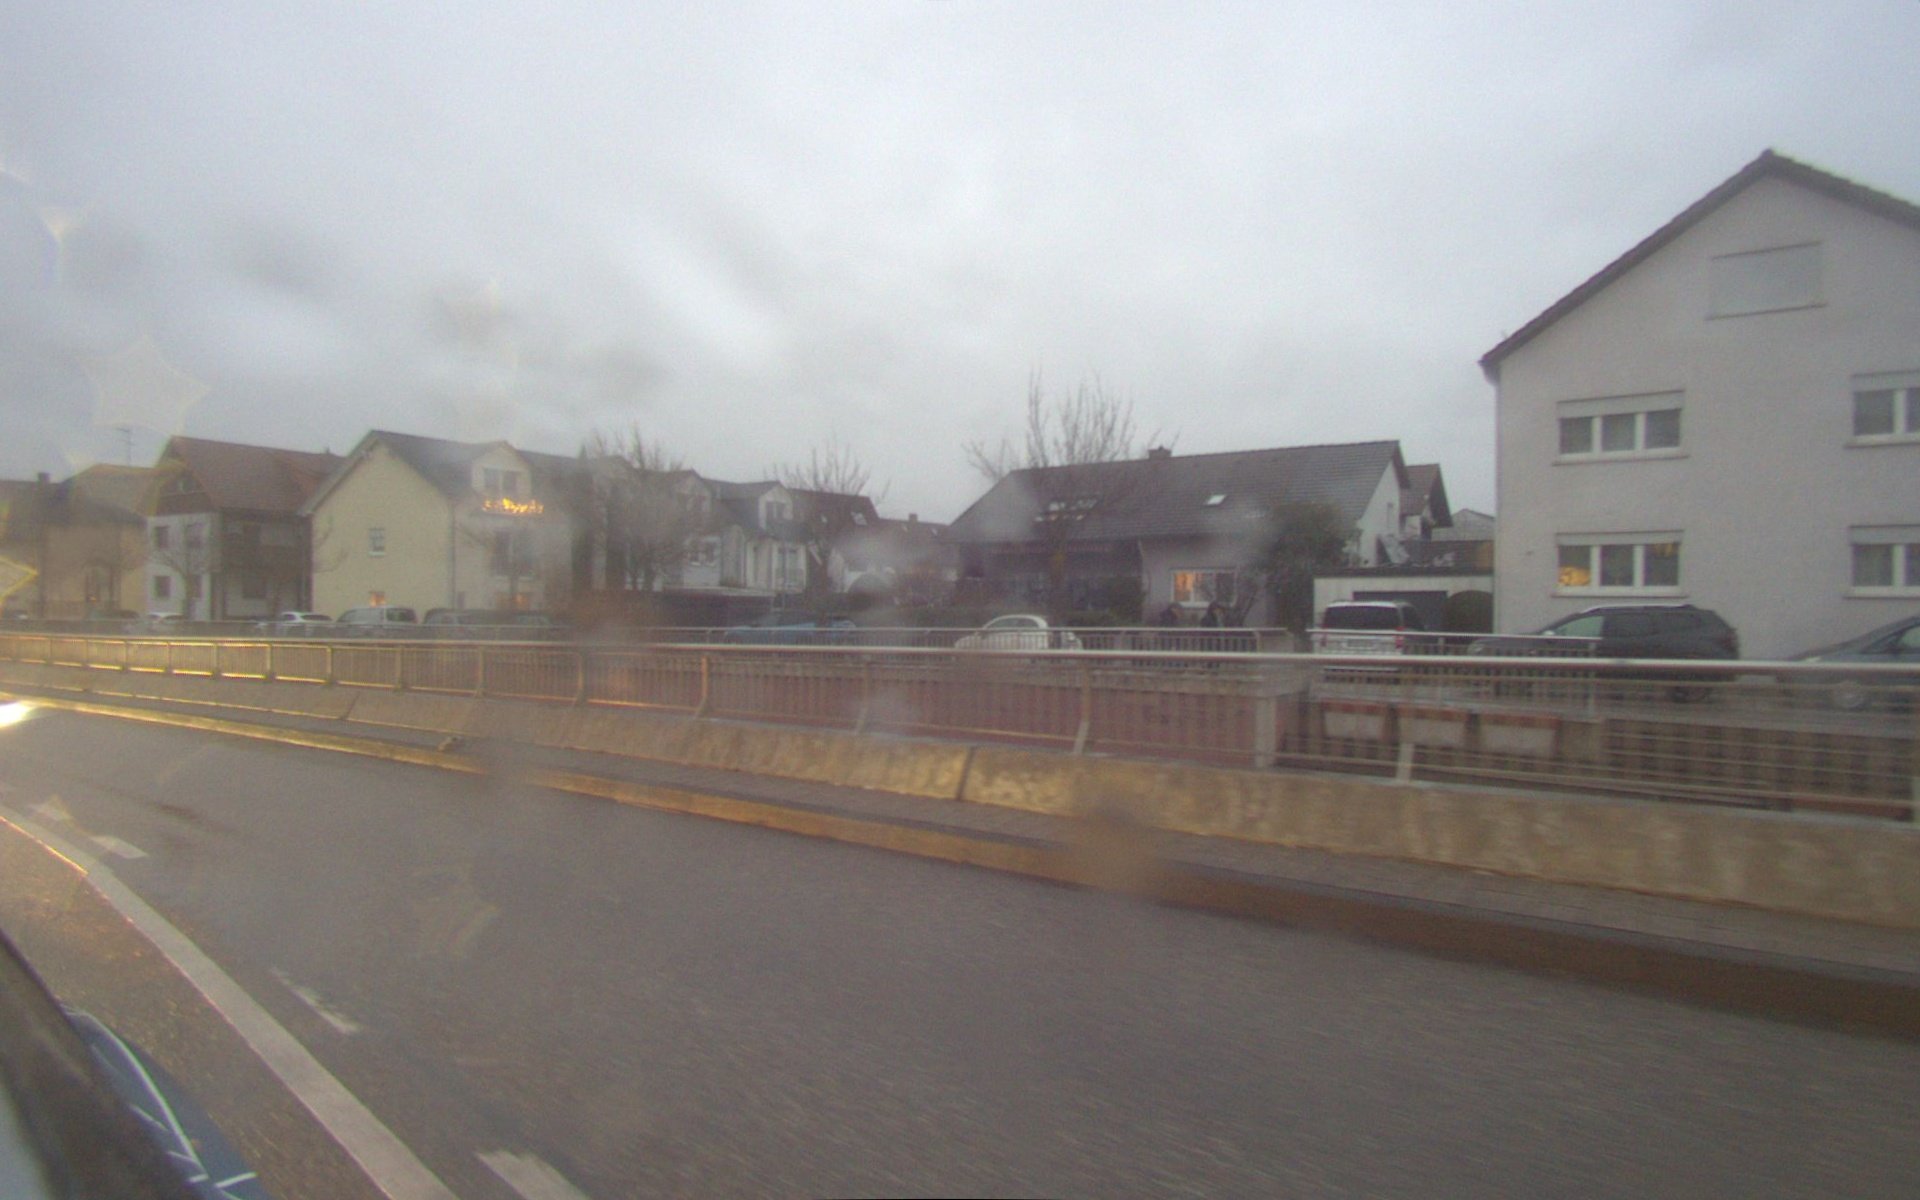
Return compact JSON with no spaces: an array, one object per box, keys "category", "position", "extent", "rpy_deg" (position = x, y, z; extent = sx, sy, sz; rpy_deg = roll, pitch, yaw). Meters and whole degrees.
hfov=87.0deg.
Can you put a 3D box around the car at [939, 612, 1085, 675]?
[{"category":"car","position":[1.293,1.078,25.889],"extent":[3.493,1.520,1.462],"rpy_deg":[-1,-1,33]}]

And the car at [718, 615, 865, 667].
[{"category":"car","position":[-5.105,1.202,30.468],"extent":[4.240,1.480,1.782],"rpy_deg":[-1,-1,30]}]

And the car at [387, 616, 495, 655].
[{"category":"car","position":[-20.361,1.365,39.705],"extent":[4.240,1.480,1.782],"rpy_deg":[-1,-1,30]}]

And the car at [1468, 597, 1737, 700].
[{"category":"car","position":[11.517,0.812,18.357],"extent":[3.949,1.673,1.684],"rpy_deg":[-1,0,34]}]

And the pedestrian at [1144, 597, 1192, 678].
[{"category":"pedestrian","position":[3.470,0.617,16.887],"extent":[0.602,1.312,0.504],"rpy_deg":[-2,-1,39]}]

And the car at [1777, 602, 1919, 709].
[{"category":"car","position":[15.276,0.831,15.601],"extent":[4.087,1.581,1.758],"rpy_deg":[-1,0,37]}]

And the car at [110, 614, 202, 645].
[{"category":"car","position":[-40.091,1.437,50.432],"extent":[4.591,1.480,1.784],"rpy_deg":[-1,-1,26]}]

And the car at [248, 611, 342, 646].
[{"category":"car","position":[-29.578,1.308,44.996],"extent":[3.995,1.480,1.661],"rpy_deg":[-1,-3,26]}]

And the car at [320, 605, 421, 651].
[{"category":"car","position":[-24.575,1.153,42.167],"extent":[4.240,1.841,1.782],"rpy_deg":[-1,-1,30]}]

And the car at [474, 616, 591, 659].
[{"category":"car","position":[-15.687,1.346,37.110],"extent":[4.240,1.480,1.782],"rpy_deg":[-1,-1,30]}]

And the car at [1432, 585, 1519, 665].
[{"category":"car","position":[13.600,0.725,26.629],"extent":[1.468,1.952,3.660],"rpy_deg":[-2,-4,36]}]

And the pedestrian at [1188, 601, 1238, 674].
[{"category":"pedestrian","position":[4.489,0.658,17.948],"extent":[0.602,1.259,0.684],"rpy_deg":[-2,-1,39]}]
